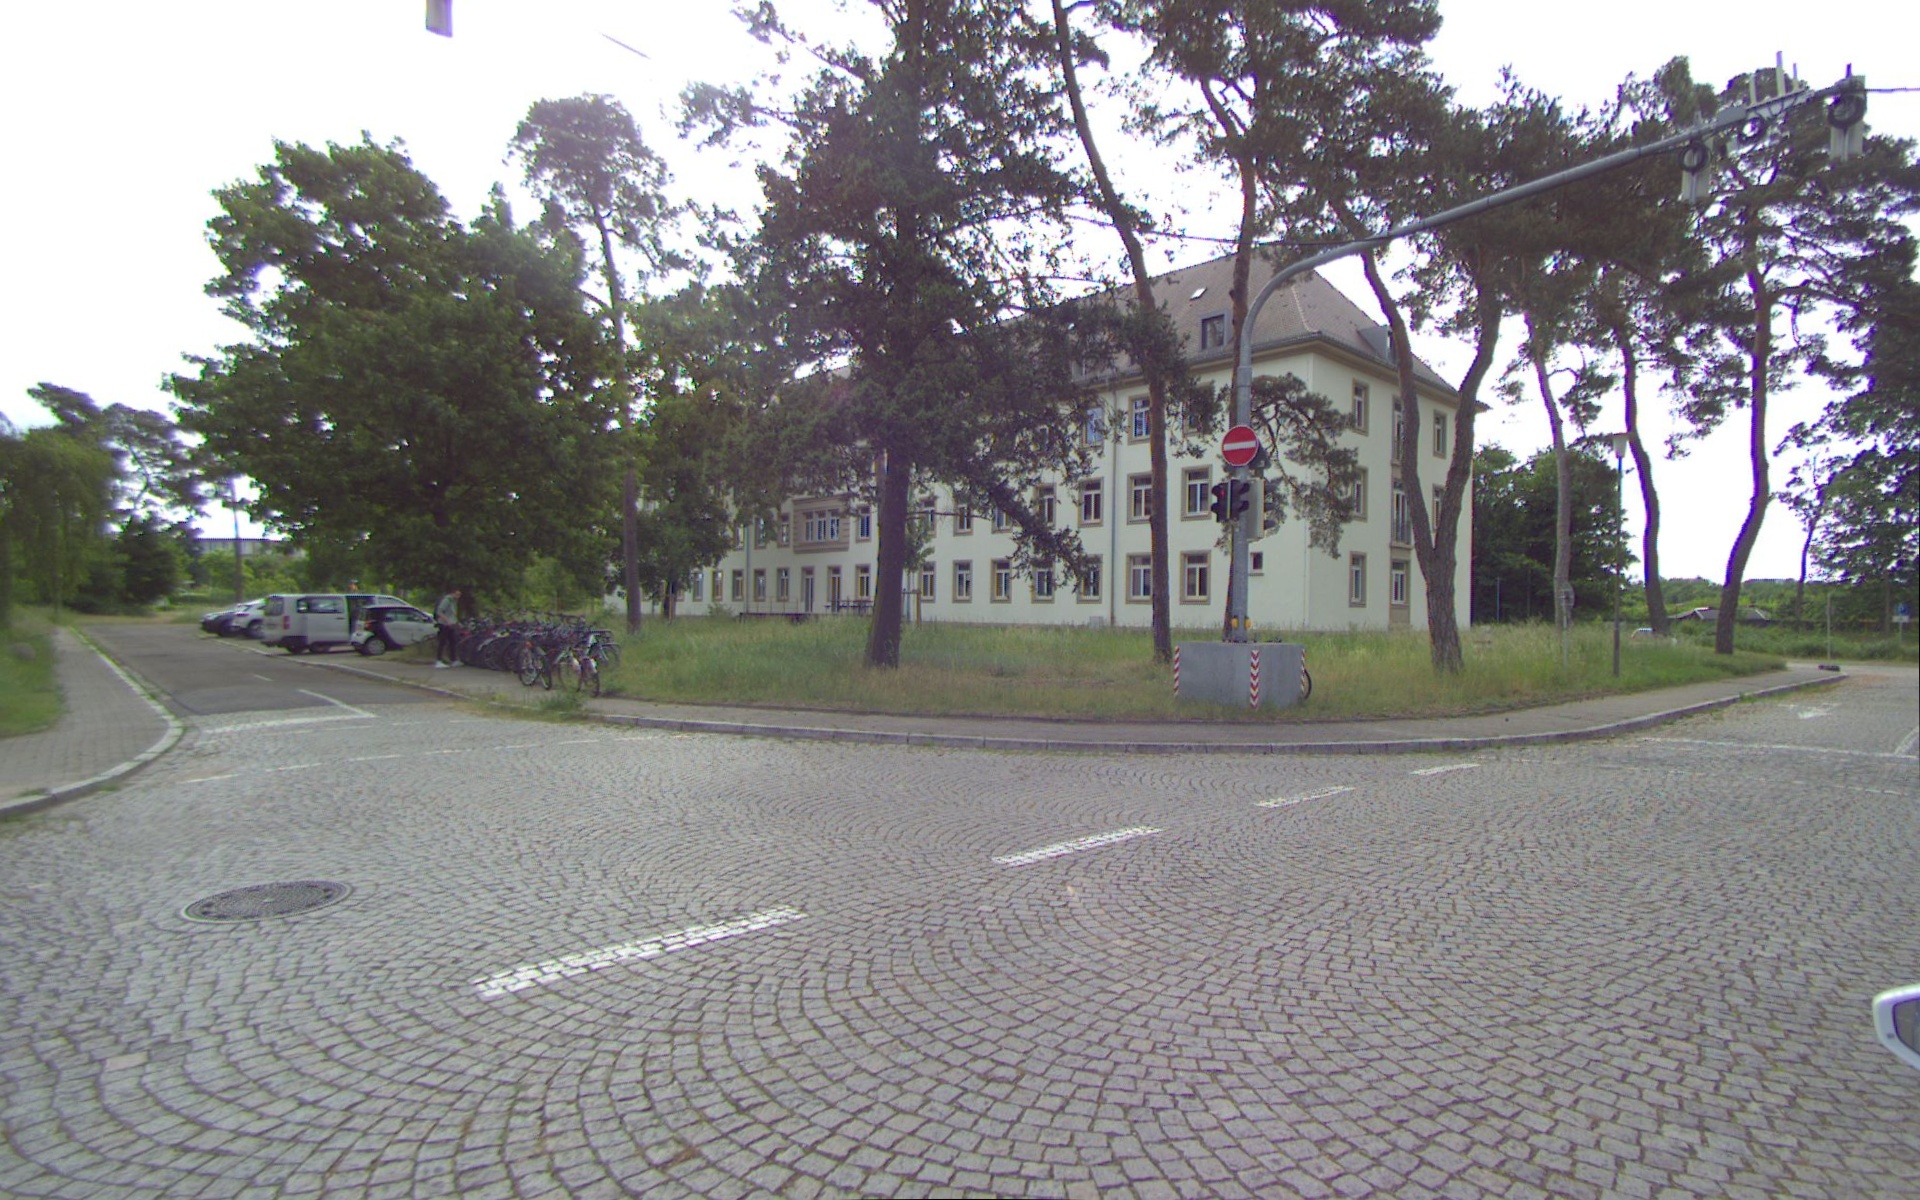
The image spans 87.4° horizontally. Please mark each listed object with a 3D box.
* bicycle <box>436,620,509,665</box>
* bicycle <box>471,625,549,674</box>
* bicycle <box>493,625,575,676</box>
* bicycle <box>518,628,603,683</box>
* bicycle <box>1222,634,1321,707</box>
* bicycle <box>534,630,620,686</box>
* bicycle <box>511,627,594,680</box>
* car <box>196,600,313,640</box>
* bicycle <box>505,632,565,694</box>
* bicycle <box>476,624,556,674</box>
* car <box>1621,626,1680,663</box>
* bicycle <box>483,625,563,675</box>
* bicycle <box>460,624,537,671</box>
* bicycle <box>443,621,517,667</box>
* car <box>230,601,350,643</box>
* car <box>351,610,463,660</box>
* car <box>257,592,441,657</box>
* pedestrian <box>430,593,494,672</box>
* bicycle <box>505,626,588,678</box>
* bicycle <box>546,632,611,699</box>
[{"bbox_3d":[-12.298,1.072,25.389,1.574,1.093,0.510,2,-1,-43],"label":"bicycle"},{"bbox_3d":[-10.424,1.126,23.296,1.574,1.093,0.510,2,-1,-43],"label":"bicycle"},{"bbox_3d":[-9.422,1.112,22.249,1.574,1.093,0.510,2,-1,-43],"label":"bicycle"},{"bbox_3d":[-8.324,1.146,20.969,1.572,1.093,0.510,2,-1,-40],"label":"bicycle"},{"bbox_3d":[4.969,1.098,16.062,0.513,1.079,1.450,0,0,-44],"label":"bicycle"},{"bbox_3d":[-7.807,1.167,20.532,0.509,1.093,1.576,0,-1,44],"label":"bicycle"},{"bbox_3d":[-8.728,1.129,21.549,1.574,1.093,0.510,2,-1,-43],"label":"bicycle"},{"bbox_3d":[-31.922,0.902,45.534,1.781,1.716,4.070,1,0,43],"label":"car"},{"bbox_3d":[-7.851,1.141,18.541,0.513,1.093,1.450,1,-1,-44],"label":"bicycle"},{"bbox_3d":[-10.160,1.107,23.019,1.574,1.093,0.510,2,-1,-43],"label":"bicycle"},{"bbox_3d":[37.374,2.374,54.334,1.973,1.871,3.976,2,0,44],"label":"car"},{"bbox_3d":[-9.853,1.117,22.692,1.574,1.093,0.510,2,-1,-43],"label":"bicycle"},{"bbox_3d":[-10.957,1.121,23.882,1.574,1.093,0.510,2,-1,-43],"label":"bicycle"},{"bbox_3d":[-11.955,1.086,25.028,1.574,1.093,0.510,2,-1,-43],"label":"bicycle"},{"bbox_3d":[-29.190,0.948,43.858,1.781,1.716,4.070,1,0,43],"label":"car"},{"bbox_3d":[-17.279,1.074,31.434,2.768,1.447,1.502,2,0,-43],"label":"car"},{"bbox_3d":[-20.164,0.807,33.389,1.832,1.978,4.897,1,0,33],"label":"car"},{"bbox_3d":[-11.821,0.749,23.874,1.138,1.813,1.061,0,0,-15],"label":"pedestrian"},{"bbox_3d":[-8.966,1.119,21.818,1.574,1.093,0.510,2,-1,-43],"label":"bicycle"},{"bbox_3d":[-6.636,1.115,17.453,0.513,1.079,1.450,1,-1,-44],"label":"bicycle"}]
